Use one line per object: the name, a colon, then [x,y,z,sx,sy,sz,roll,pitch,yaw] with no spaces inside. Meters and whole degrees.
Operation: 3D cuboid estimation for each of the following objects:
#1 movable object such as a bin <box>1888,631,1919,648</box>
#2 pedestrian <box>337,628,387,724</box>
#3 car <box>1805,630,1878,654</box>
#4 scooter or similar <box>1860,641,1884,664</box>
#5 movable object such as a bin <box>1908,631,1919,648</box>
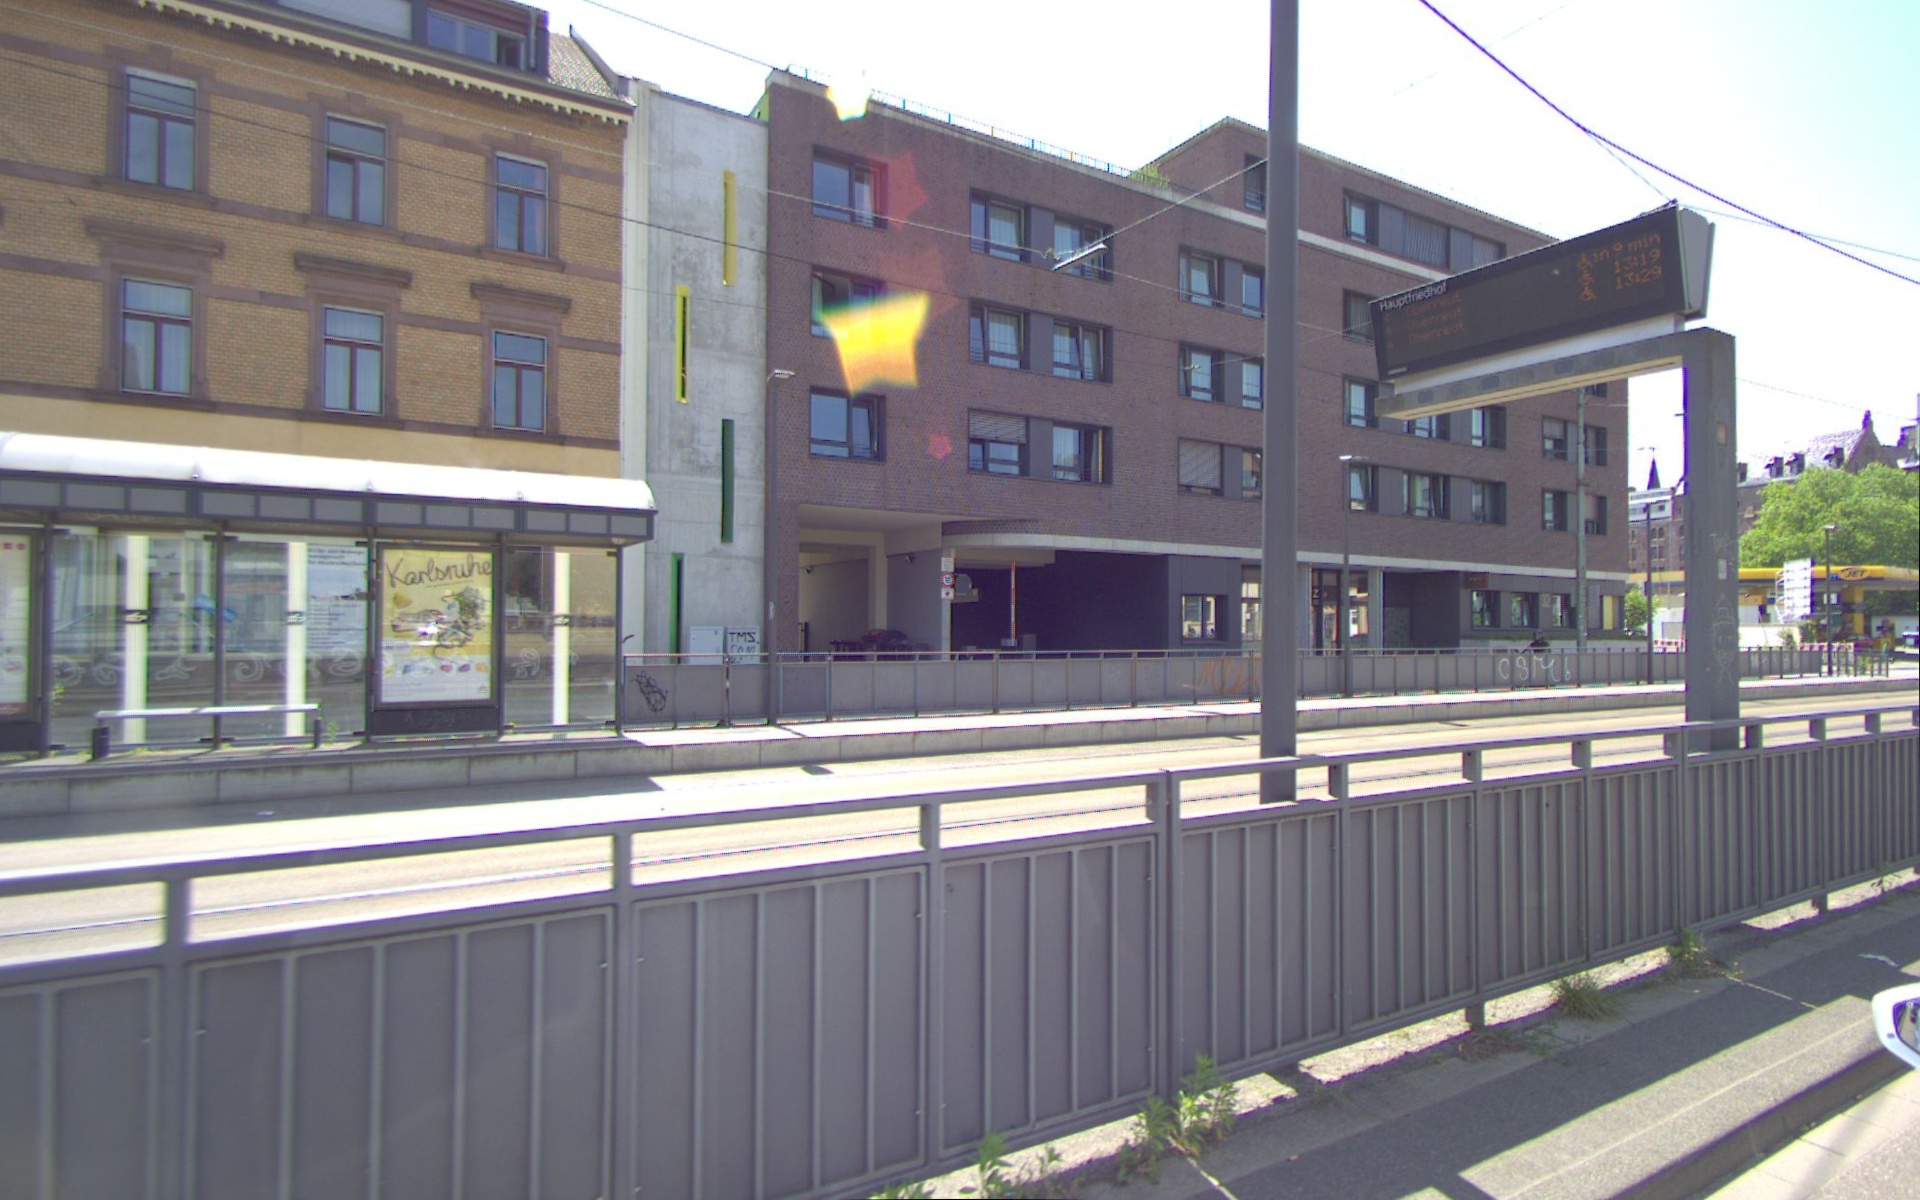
movable object such as a bin: [85.789,3.603,91.126,2.064,1.451,1.522,1,0,-14]
pedestrian: [-10.368,1.293,17.424,0.707,1.617,0.599,1,-2,-33]
car: [61.475,2.927,70.056,4.129,1.525,1.826,0,1,-15]
scooter or similar: [49.816,2.868,54.851,1.220,1.281,0.345,1,0,-14]
movable object such as a bin: [86.116,3.536,89.544,2.064,1.529,1.522,1,0,-14]
